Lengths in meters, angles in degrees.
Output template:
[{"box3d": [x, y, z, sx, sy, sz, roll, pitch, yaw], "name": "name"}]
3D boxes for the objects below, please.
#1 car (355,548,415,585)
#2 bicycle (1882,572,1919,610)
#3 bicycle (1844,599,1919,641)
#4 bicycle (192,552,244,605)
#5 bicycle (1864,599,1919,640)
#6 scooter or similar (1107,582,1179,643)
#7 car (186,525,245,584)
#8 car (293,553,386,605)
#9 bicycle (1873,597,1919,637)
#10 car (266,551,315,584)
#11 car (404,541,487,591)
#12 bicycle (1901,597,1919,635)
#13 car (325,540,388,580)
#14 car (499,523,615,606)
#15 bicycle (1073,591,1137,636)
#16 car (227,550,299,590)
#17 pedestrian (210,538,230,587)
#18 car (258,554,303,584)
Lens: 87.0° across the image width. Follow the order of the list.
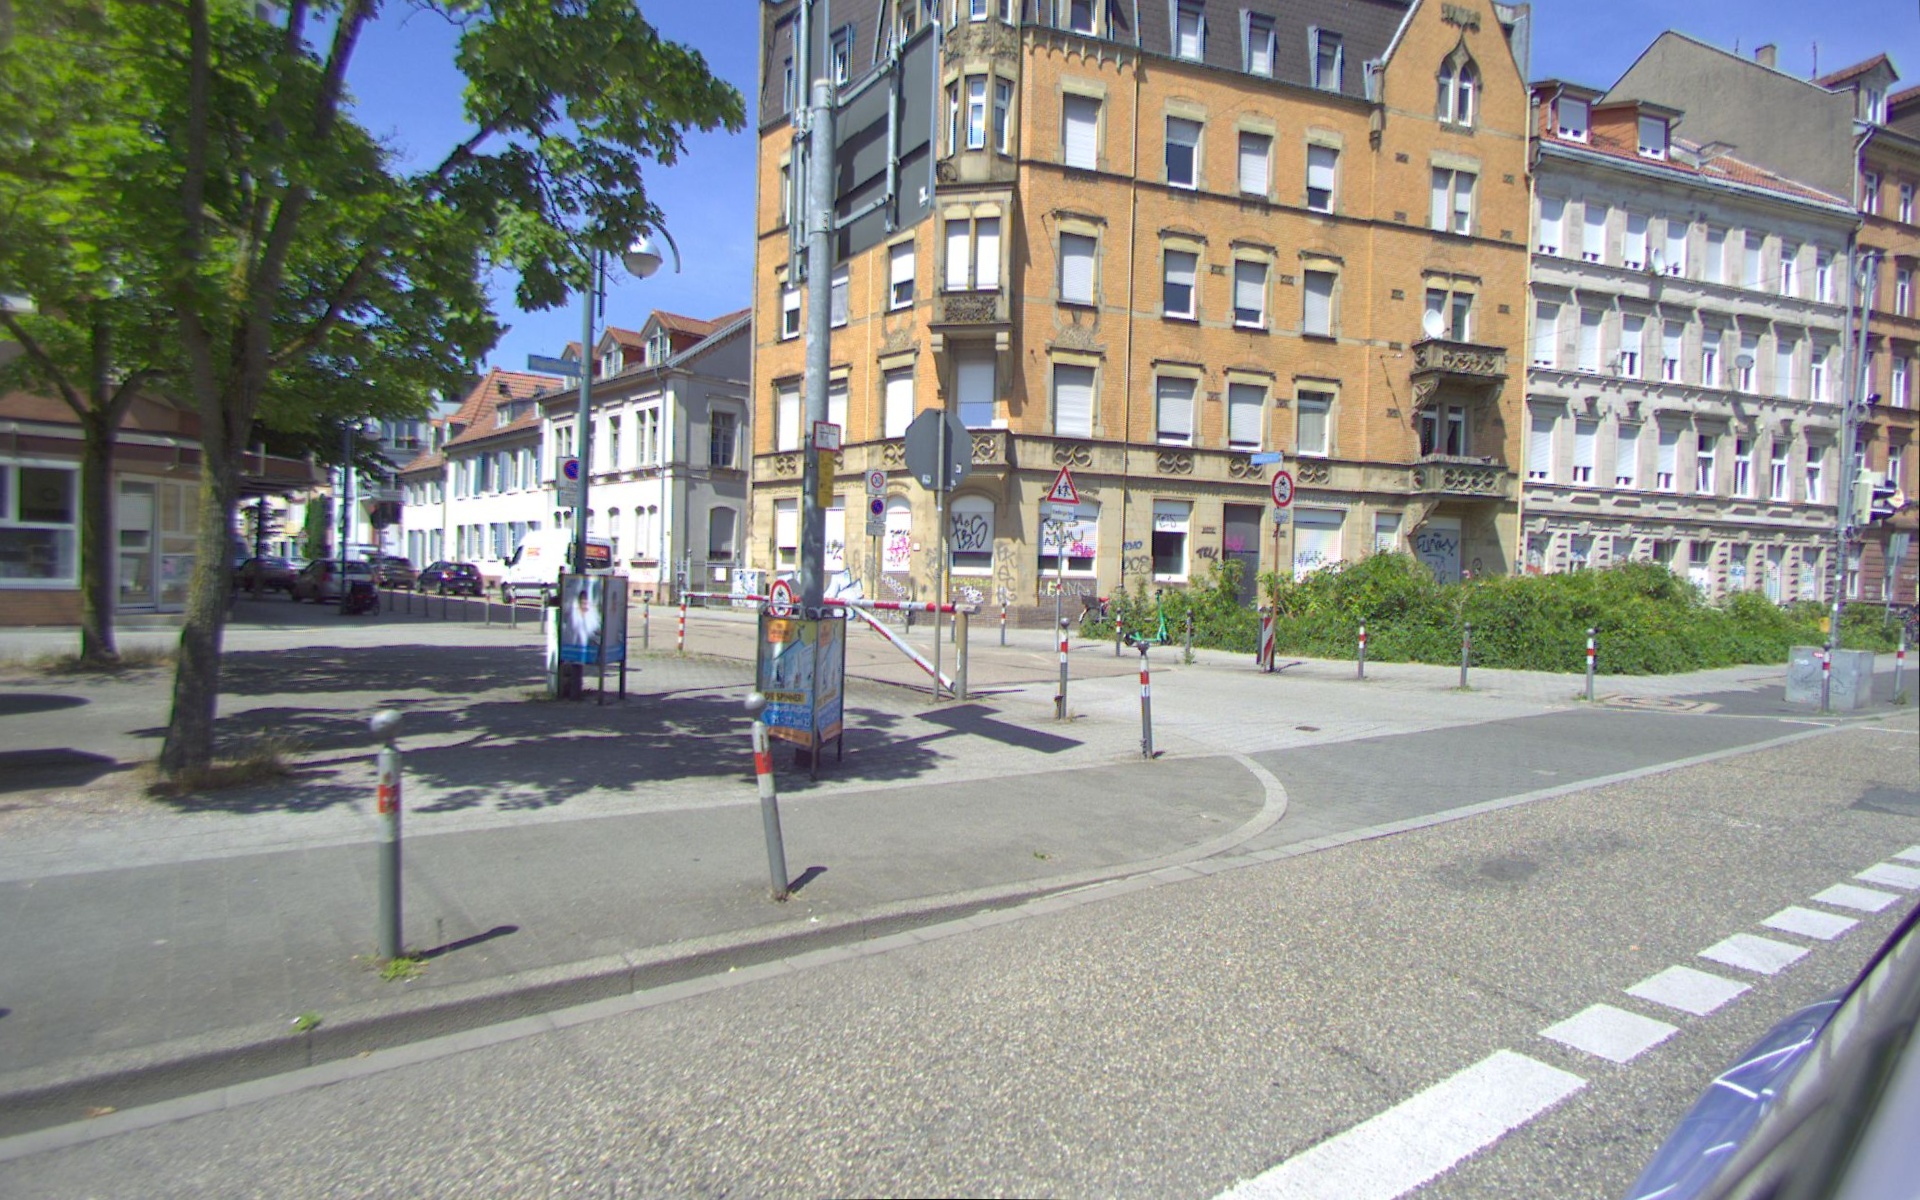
[{"box3d": [-28.727, -1.645, 50.512, 1.804, 1.705, 3.993, 1, 1, -42], "name": "car"}, {"box3d": [30.831, -0.287, 32.584, 1.883, 1.195, 0.493, 1, 0, -4], "name": "bicycle"}, {"box3d": [27.320, 0.580, 29.772, 0.483, 1.195, 1.922, 1, 0, -33], "name": "bicycle"}, {"box3d": [-18.989, -0.544, 25.872, 0.694, 1.303, 2.715, 1, 0, -44], "name": "bicycle"}, {"box3d": [28.227, 0.576, 30.123, 0.483, 1.195, 1.922, 1, 0, -33], "name": "bicycle"}, {"box3d": [3.771, 0.258, 20.826, 1.458, 1.220, 0.491, 1, 0, -30], "name": "scooter or similar"}, {"box3d": [-35.476, -2.109, 48.197, 3.820, 2.672, 1.636, 1, 0, 44], "name": "car"}, {"box3d": [-19.634, -0.658, 31.989, 3.820, 1.538, 1.585, 1, 1, 44], "name": "car"}, {"box3d": [29.230, 0.533, 30.908, 0.483, 1.195, 1.922, 1, 0, -33], "name": "bicycle"}, {"box3d": [-44.831, -2.150, 67.767, 1.966, 2.061, 4.818, 1, 1, -43], "name": "car"}, {"box3d": [-22.499, -1.461, 44.185, 1.966, 2.061, 4.818, 1, 1, -43], "name": "car"}, {"box3d": [30.431, 0.506, 31.281, 0.483, 1.195, 1.922, 1, 0, -33], "name": "bicycle"}, {"box3d": [-32.767, -2.140, 54.885, 1.966, 2.061, 4.818, 1, 1, -43], "name": "car"}, {"box3d": [-13.994, -1.174, 34.955, 1.966, 2.655, 5.207, 1, 0, -43], "name": "car"}, {"box3d": [3.361, 0.313, 23.426, 1.458, 1.005, 0.491, 1, 0, -30], "name": "bicycle"}, {"box3d": [-27.832, -1.193, 40.367, 3.820, 1.512, 1.636, 1, 1, 44], "name": "car"}, {"box3d": [-25.801, -1.298, 35.279, 0.482, 1.709, 0.469, 1, 0, -44], "name": "pedestrian"}, {"box3d": [-49.221, -2.228, 73.231, 1.966, 2.061, 4.818, 1, 1, -43], "name": "car"}]
